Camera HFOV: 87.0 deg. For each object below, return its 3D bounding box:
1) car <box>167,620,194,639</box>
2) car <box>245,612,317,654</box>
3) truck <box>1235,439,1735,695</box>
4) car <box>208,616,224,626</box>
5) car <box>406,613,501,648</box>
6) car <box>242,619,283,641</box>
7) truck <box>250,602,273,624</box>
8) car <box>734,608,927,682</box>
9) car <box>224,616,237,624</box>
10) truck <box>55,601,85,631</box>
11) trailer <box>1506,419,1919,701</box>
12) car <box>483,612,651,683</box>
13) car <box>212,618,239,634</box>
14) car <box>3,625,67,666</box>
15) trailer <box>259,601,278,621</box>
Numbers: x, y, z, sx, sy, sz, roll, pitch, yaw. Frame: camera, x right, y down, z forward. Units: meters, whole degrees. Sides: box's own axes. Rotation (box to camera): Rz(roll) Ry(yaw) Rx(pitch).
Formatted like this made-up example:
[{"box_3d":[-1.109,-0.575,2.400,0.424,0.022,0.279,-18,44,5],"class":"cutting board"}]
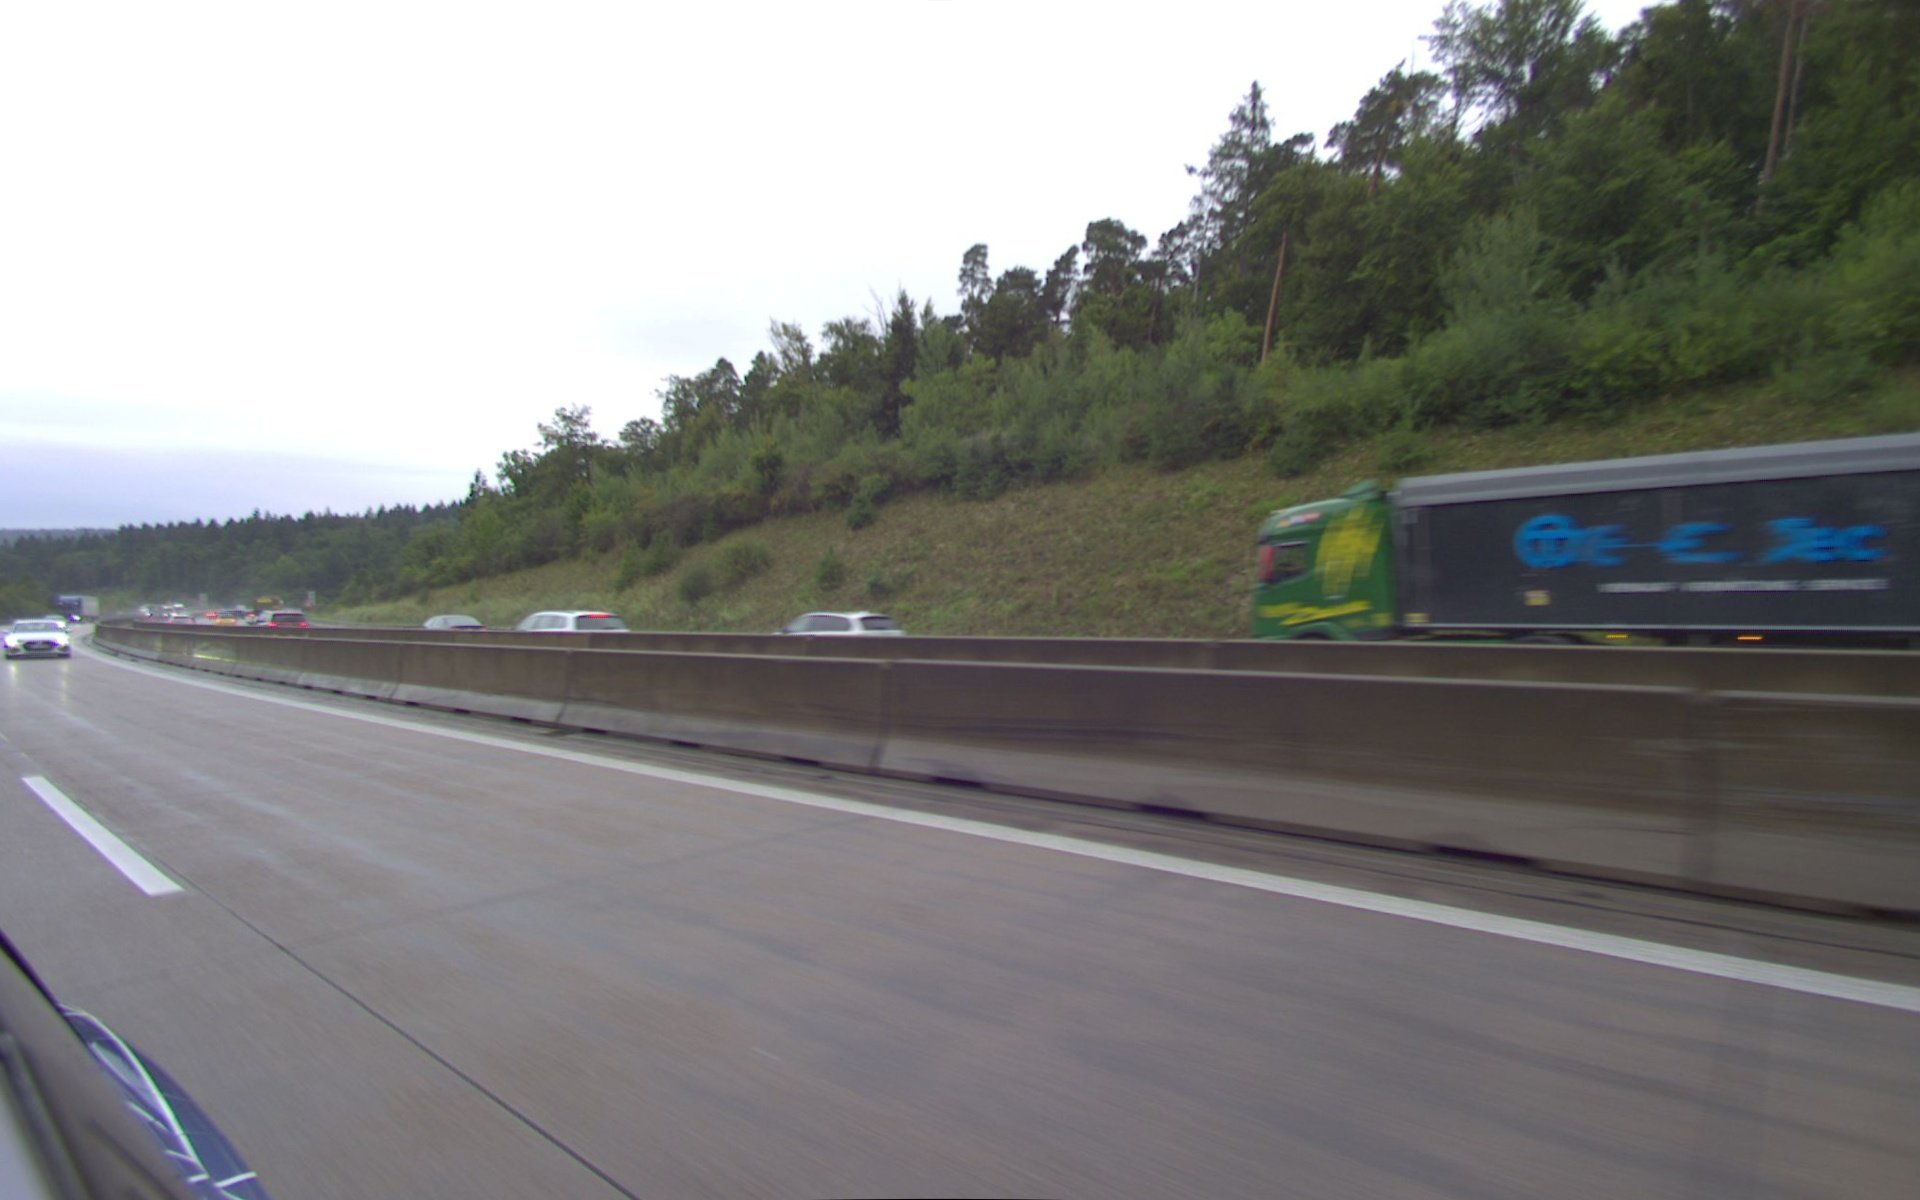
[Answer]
[{"box_3d":[-68.631,2.564,89.096,1.720,1.573,4.290,0,-1,-40],"class":"car"},{"box_3d":[-31.230,1.484,46.478,1.970,1.781,4.540,0,-1,-44],"class":"car"},{"box_3d":[9.741,-0.447,19.521,8.112,3.990,2.897,-1,-1,40],"class":"truck"},{"box_3d":[-106.234,3.051,144.549,1.631,1.356,4.097,-1,0,-34],"class":"car"},{"box_3d":[-20.193,1.183,40.276,4.296,1.303,1.972,-1,-1,42],"class":"car"},{"box_3d":[-48.854,2.103,70.888,4.285,1.498,1.556,-2,-1,44],"class":"car"},{"box_3d":[-109.907,2.001,159.271,2.586,3.321,9.408,0,-1,-32],"class":"truck"},{"box_3d":[-3.176,1.021,24.184,4.771,1.597,1.972,-1,-1,42],"class":"car"},{"box_3d":[-125.062,3.455,173.521,1.781,1.356,4.777,-1,0,-36],"class":"car"},{"box_3d":[-130.889,2.380,148.917,2.695,4.183,8.638,-1,-1,-38],"class":"truck"},{"box_3d":[15.626,-0.580,14.465,13.454,3.990,2.897,-1,-1,41],"class":"trailer"},{"box_3d":[-9.805,1.113,25.057,4.771,1.597,1.972,-1,-1,42],"class":"car"},{"box_3d":[-74.806,2.660,103.006,1.721,1.573,4.288,0,-1,-43],"class":"car"},{"box_3d":[-34.877,1.675,38.108,1.692,1.418,4.940,-1,-1,-43],"class":"car"},{"box_3d":[-140.518,2.284,205.665,2.974,3.904,13.736,0,0,-34],"class":"trailer"}]
